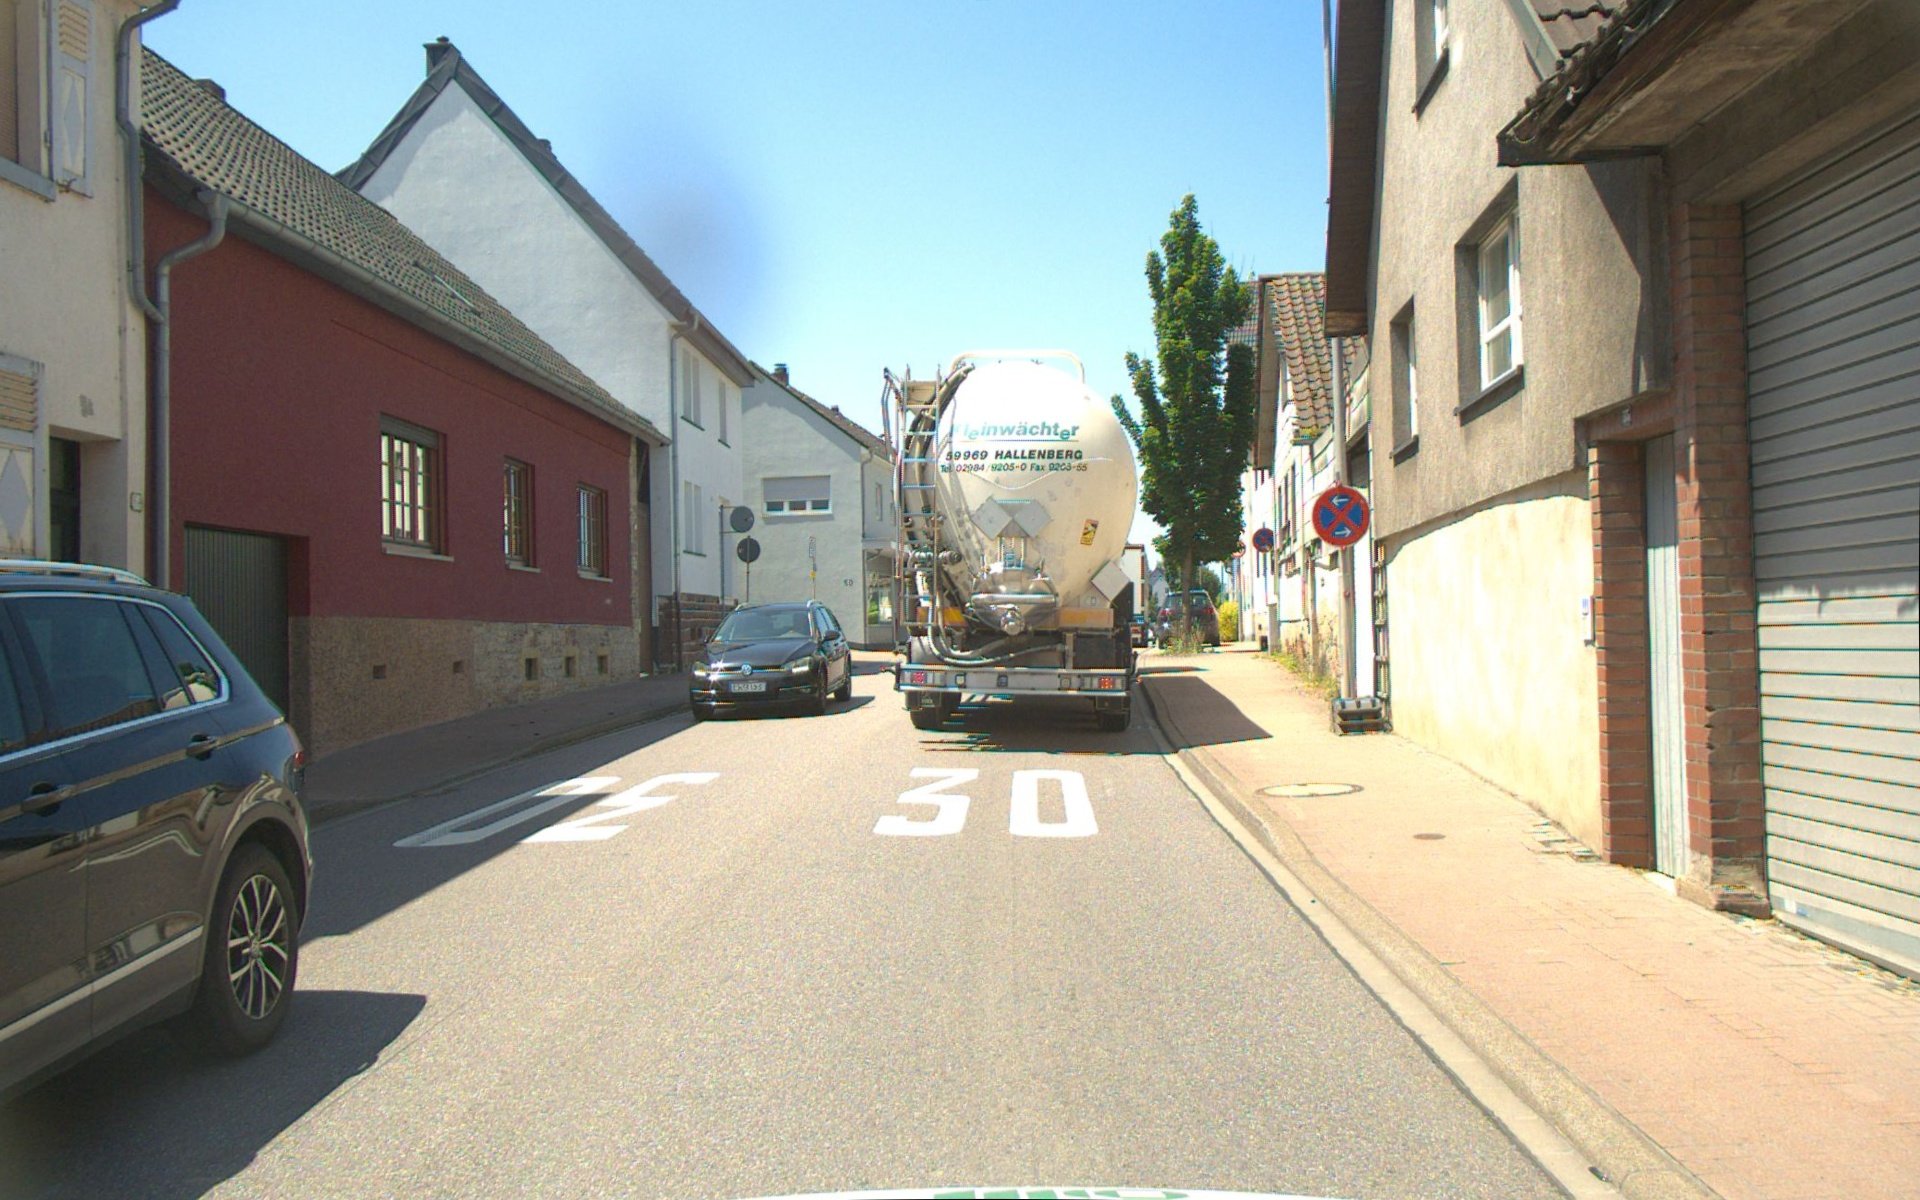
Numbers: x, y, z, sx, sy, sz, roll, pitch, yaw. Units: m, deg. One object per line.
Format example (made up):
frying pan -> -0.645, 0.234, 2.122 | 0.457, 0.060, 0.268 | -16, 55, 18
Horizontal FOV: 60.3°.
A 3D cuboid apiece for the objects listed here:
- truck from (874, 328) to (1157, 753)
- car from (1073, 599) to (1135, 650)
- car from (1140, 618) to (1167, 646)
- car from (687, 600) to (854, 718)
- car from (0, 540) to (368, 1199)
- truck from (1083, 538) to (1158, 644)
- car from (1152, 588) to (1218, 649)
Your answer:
truck -> 0.819, -0.582, 19.830 | 2.675, 4.029, 8.146 | 0, 0, 4
car -> 4.722, 0.811, 53.823 | 1.664, 1.472, 4.839 | -4, -2, 8
car -> 14.320, 2.395, 122.660 | 1.905, 2.005, 4.787 | -2, -1, 6
car -> -2.533, 0.754, 23.055 | 1.659, 1.434, 4.201 | -2, 0, 2
car -> -3.185, 0.714, 4.169 | 1.774, 1.637, 4.337 | -3, 0, 0
truck -> 6.832, -0.394, 69.925 | 2.900, 4.141, 9.289 | -1, 0, 6
car -> 6.705, 0.541, 49.237 | 1.764, 1.642, 4.552 | -4, -1, 8
